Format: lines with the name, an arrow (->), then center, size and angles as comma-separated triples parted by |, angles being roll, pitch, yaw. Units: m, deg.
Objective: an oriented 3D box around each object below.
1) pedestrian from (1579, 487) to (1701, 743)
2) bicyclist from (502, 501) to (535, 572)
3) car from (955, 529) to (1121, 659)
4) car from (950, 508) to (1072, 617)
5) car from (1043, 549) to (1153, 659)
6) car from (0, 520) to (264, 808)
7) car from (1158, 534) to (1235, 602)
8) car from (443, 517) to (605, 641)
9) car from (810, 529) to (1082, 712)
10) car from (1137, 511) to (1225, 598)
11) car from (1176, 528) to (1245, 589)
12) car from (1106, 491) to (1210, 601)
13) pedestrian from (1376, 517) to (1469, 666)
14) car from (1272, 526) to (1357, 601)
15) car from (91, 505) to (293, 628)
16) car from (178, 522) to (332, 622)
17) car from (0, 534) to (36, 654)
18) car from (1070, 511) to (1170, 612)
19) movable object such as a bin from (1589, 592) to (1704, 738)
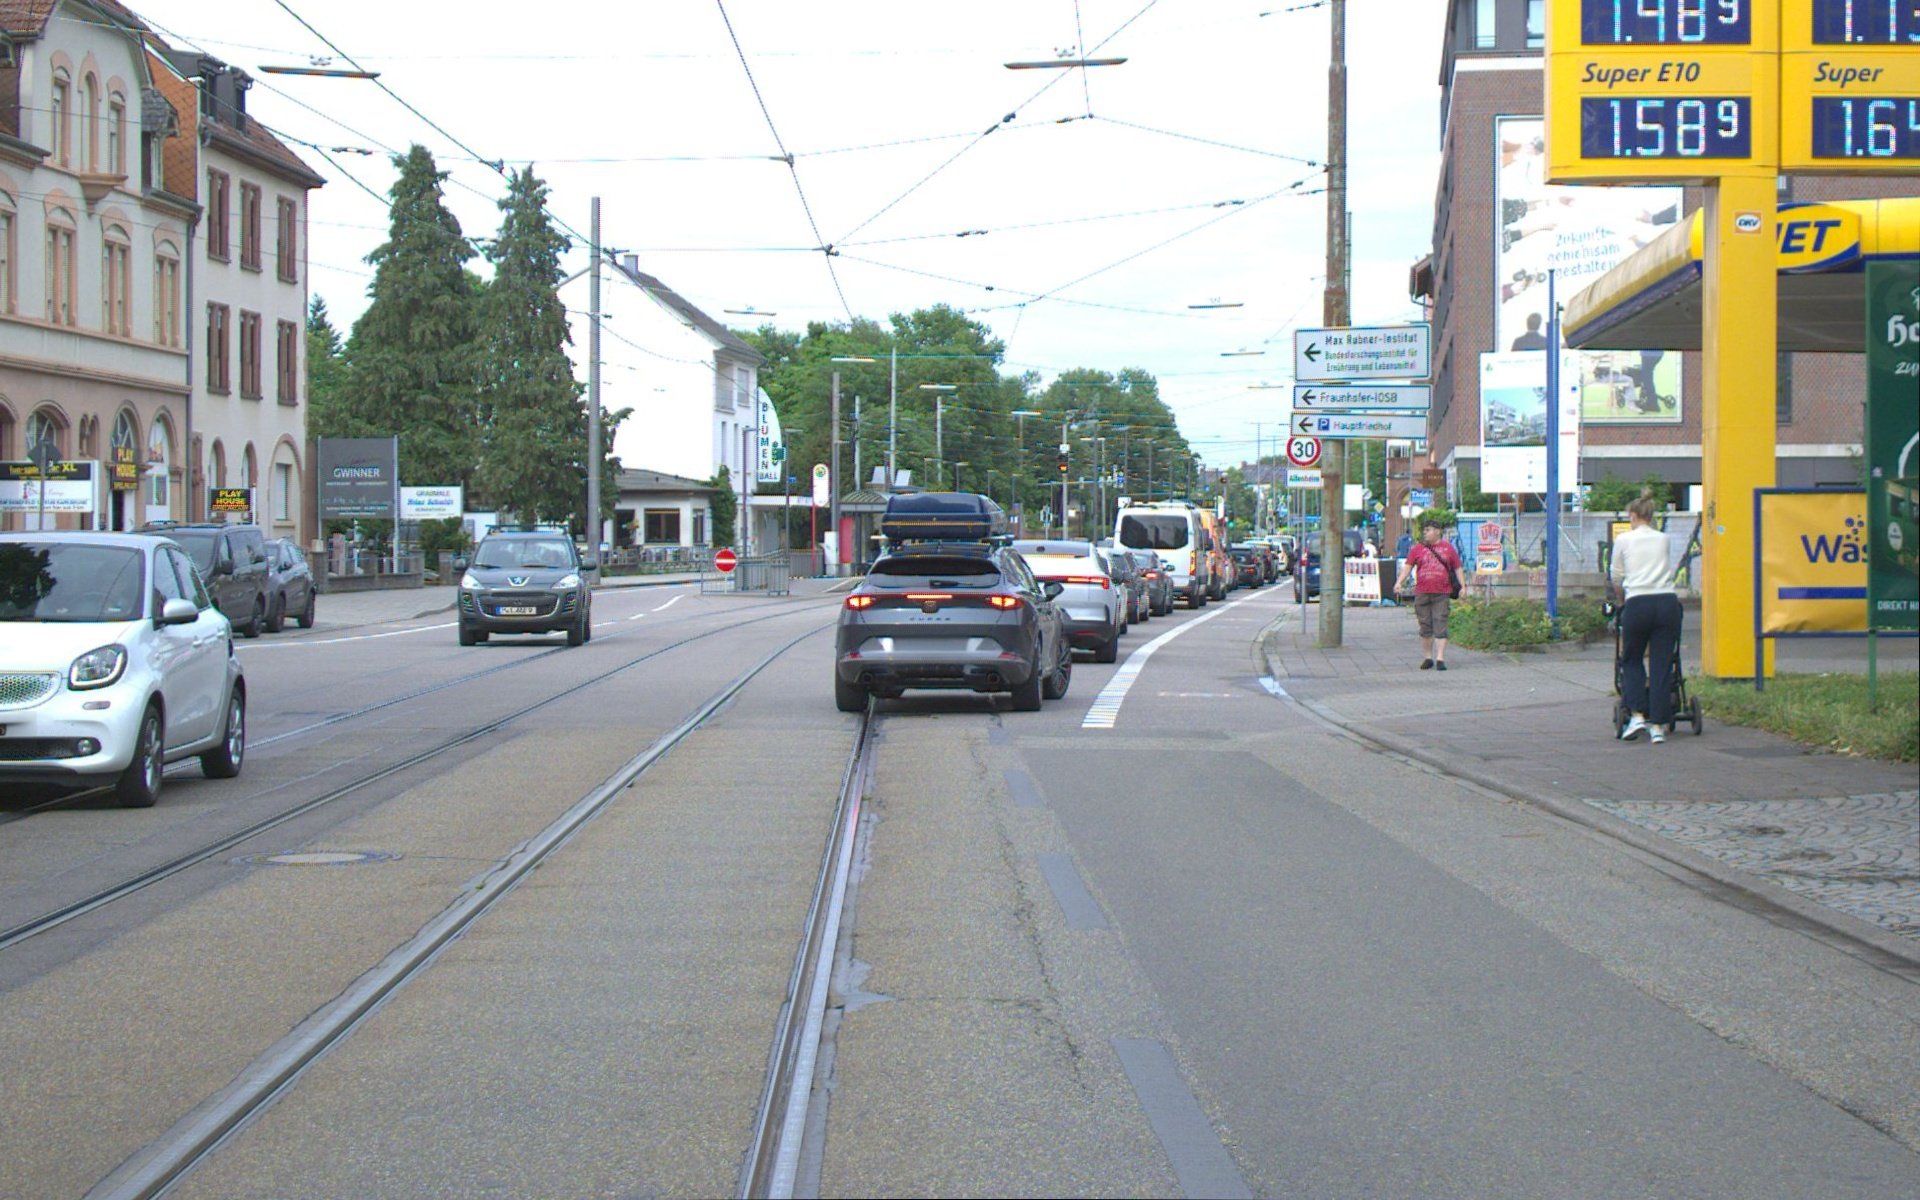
pedestrian -> 4.924, 0.100, 24.844 | 0.768, 1.790, 1.161 | -2, 0, 14
bicyclist -> -11.052, -1.583, 86.019 | 0.735, 1.743, 0.979 | -1, 1, -11
car -> 0.966, -0.102, 44.585 | 1.981, 1.544, 4.183 | 2, 1, 0
car -> 0.879, -0.636, 58.819 | 1.969, 1.750, 3.838 | 2, 0, 1
car -> 2.641, 0.065, 66.283 | 1.993, 2.007, 4.000 | 2, 0, 2
car -> -5.275, 0.321, 20.195 | 1.703, 1.524, 3.742 | 1, 0, -2
car -> 7.281, -0.984, 106.026 | 1.993, 2.007, 4.000 | 2, 0, -1
car -> -6.369, -0.315, 50.610 | 1.827, 1.731, 4.335 | 0, 0, 0
car -> -0.047, 0.164, 31.462 | 1.990, 1.492, 4.325 | 2, 0, 6
car -> 5.716, -1.156, 89.548 | 2.139, 2.138, 4.743 | 2, 0, 3
car -> 8.588, -1.424, 118.197 | 1.993, 2.007, 4.000 | 2, 0, -1
car -> 4.585, -1.241, 80.162 | 2.216, 2.415, 4.951 | 2, 0, 2
pedestrian -> 5.478, -0.101, 40.798 | 0.972, 1.732, 0.861 | -2, 0, 3
car -> 9.064, -0.920, 88.204 | 1.874, 1.817, 4.096 | 2, 0, 2
car -> -12.611, -0.547, 56.772 | 1.992, 1.880, 4.998 | 2, 0, 2
car -> -12.903, -0.515, 63.160 | 1.844, 1.712, 4.193 | 2, 0, 1
car -> -13.019, -0.100, 40.256 | 3.924, 1.383, 1.800 | 1, 1, 21
car -> 3.382, -0.801, 72.395 | 1.994, 2.007, 4.000 | 2, 0, 3
movable object such as a bin -> 5.118, 0.476, 25.600 | 0.768, 1.035, 1.023 | -2, 0, 14
